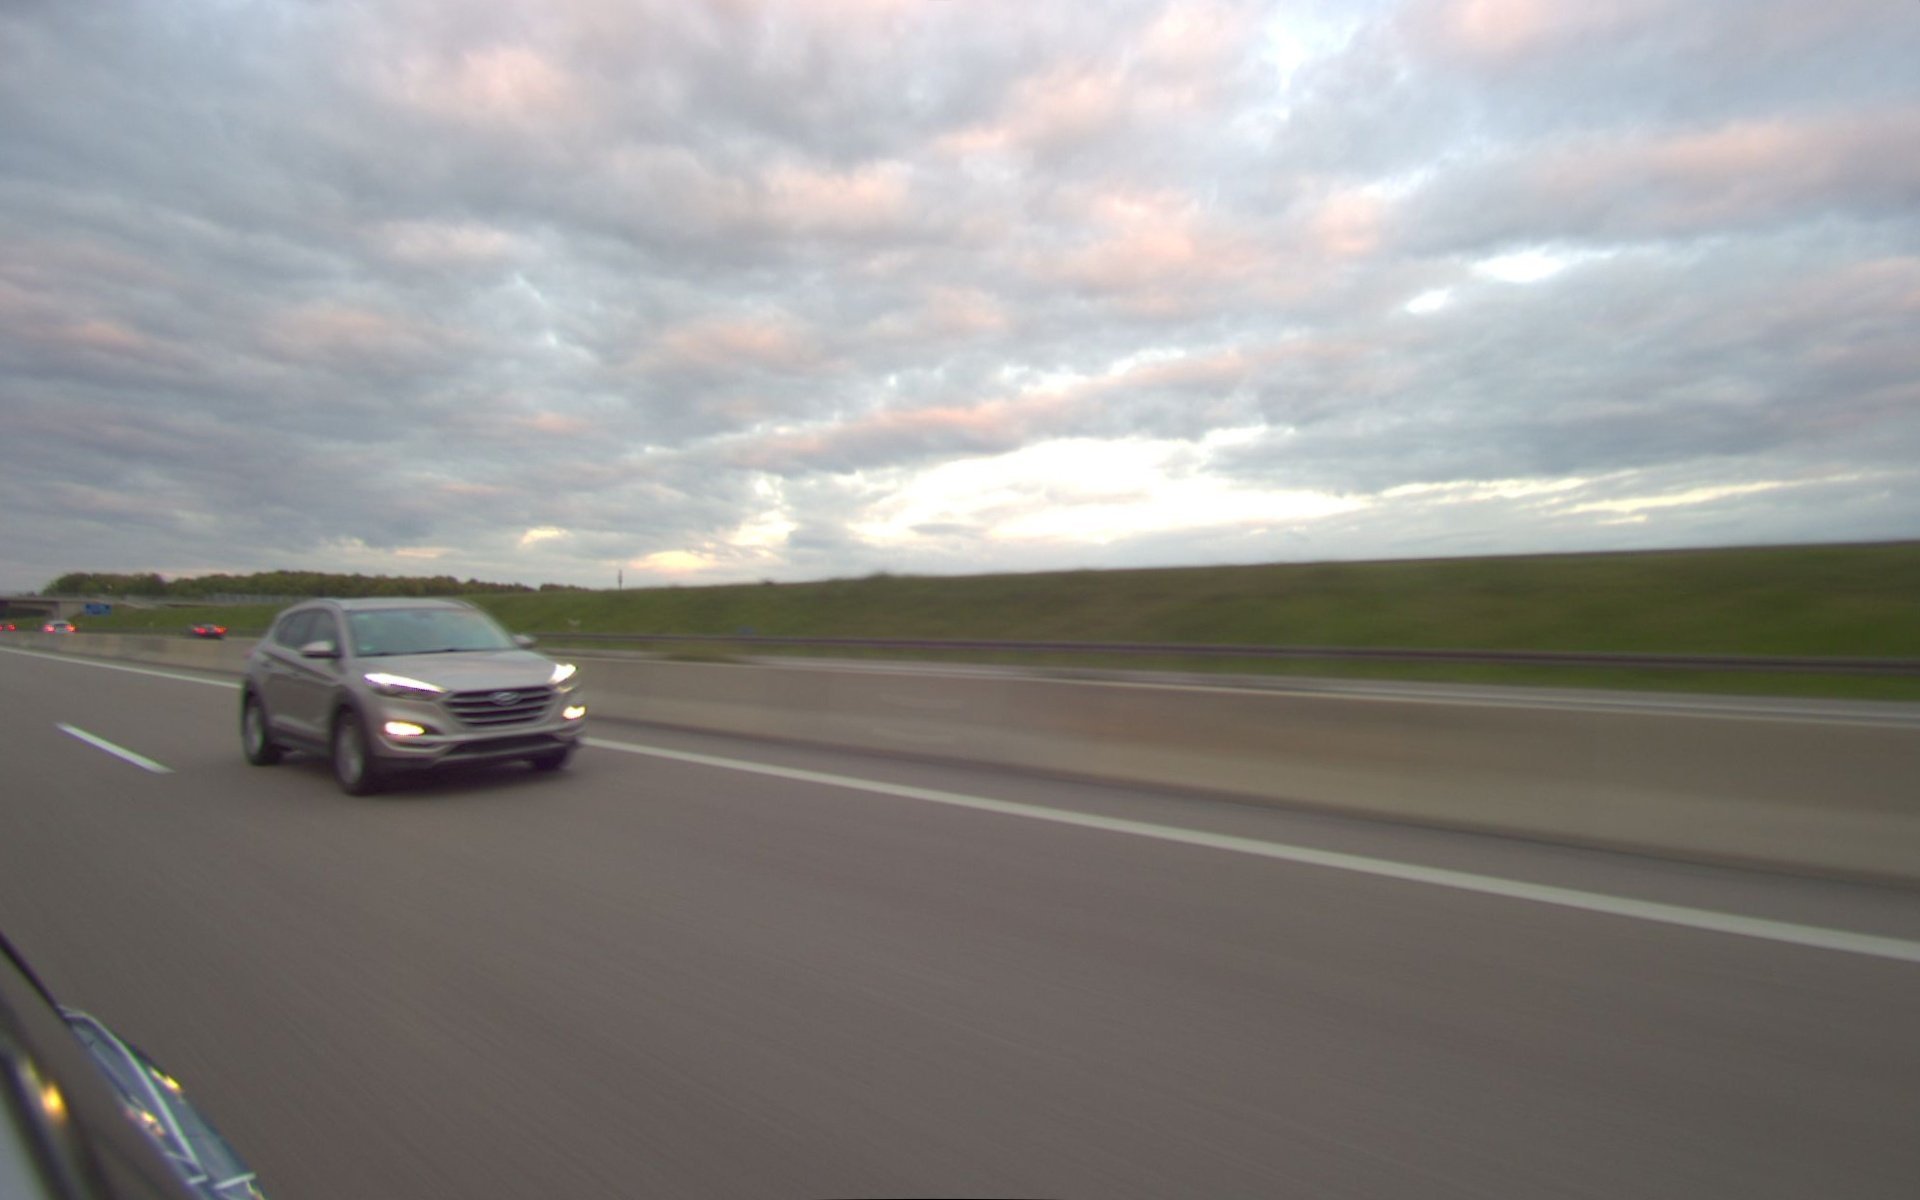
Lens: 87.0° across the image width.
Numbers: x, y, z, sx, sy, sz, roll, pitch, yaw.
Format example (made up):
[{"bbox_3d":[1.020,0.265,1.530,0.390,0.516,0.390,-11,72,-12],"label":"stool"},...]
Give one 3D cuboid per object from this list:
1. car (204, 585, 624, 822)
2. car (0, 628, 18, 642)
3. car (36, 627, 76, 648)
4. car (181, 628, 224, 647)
[{"bbox_3d":[-5.545,0.802,9.834,5.510,1.705,1.833,-1,-1,42],"label":"car"},{"bbox_3d":[-132.038,4.805,139.986,5.020,1.824,2.077,-1,-1,42],"label":"car"},{"bbox_3d":[-79.811,3.306,89.360,5.179,1.749,1.973,-2,-2,41],"label":"car"},{"bbox_3d":[-56.664,2.800,75.690,4.340,1.403,1.720,-2,-2,41],"label":"car"}]
